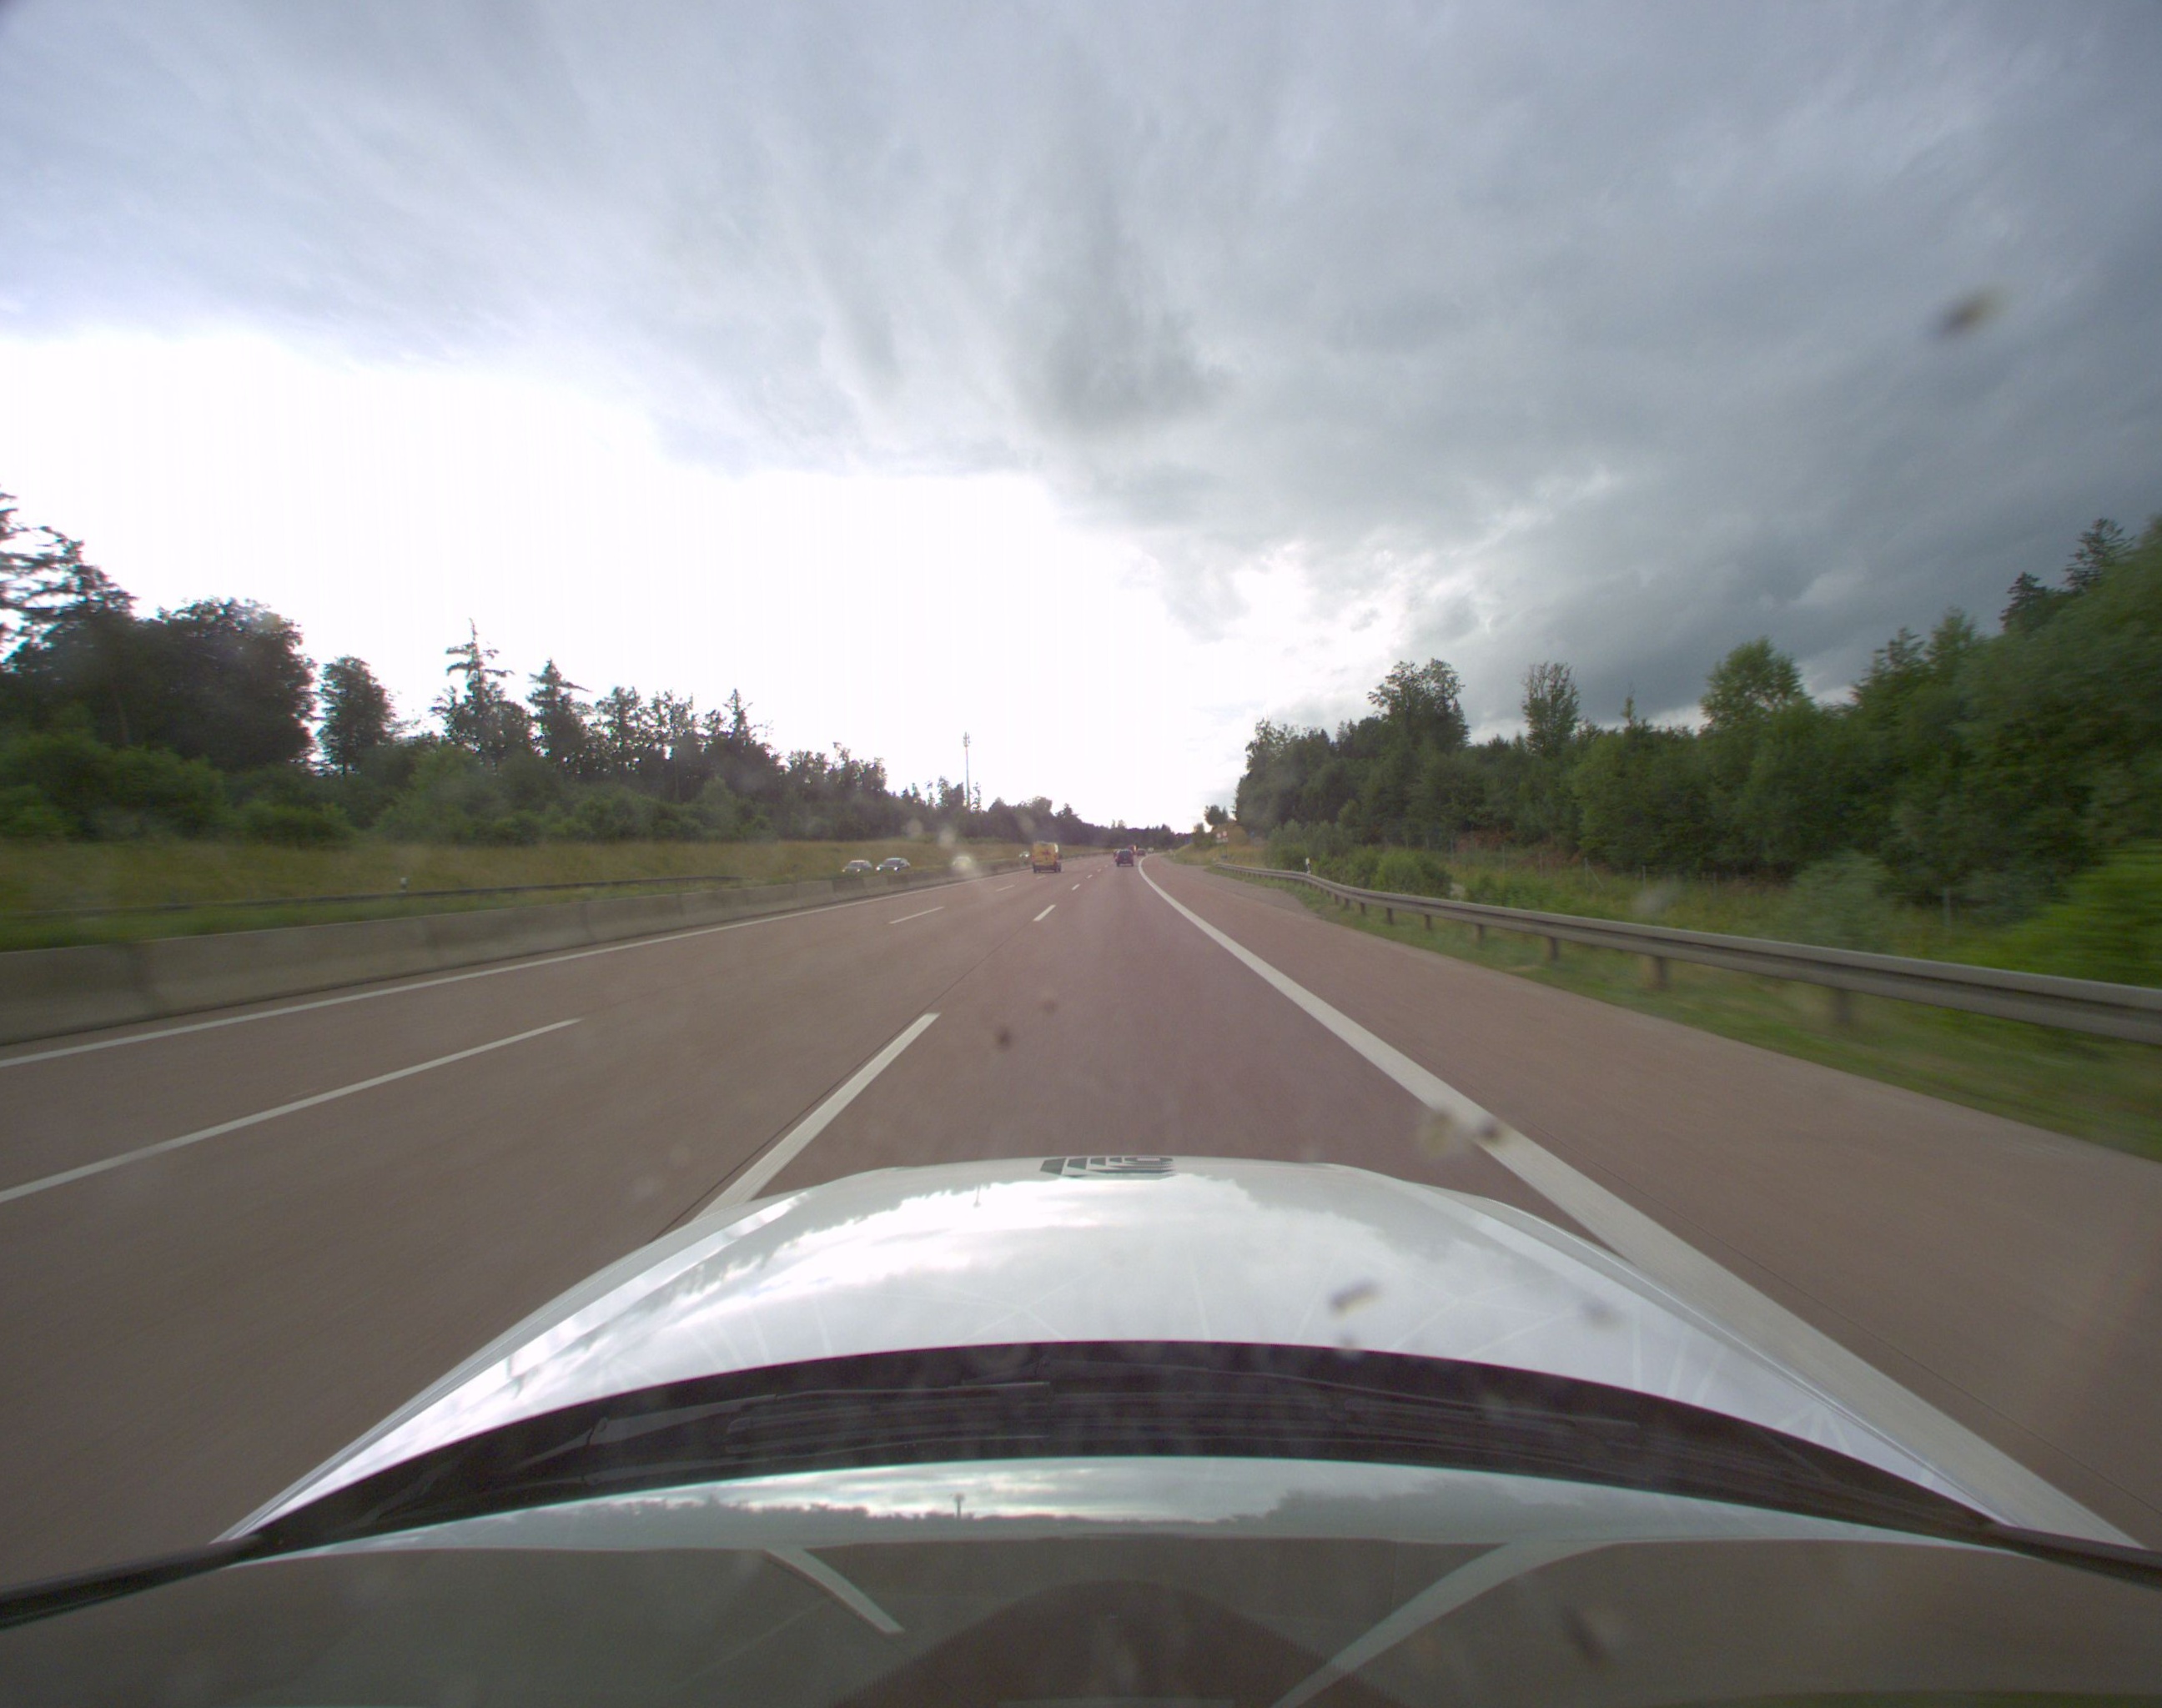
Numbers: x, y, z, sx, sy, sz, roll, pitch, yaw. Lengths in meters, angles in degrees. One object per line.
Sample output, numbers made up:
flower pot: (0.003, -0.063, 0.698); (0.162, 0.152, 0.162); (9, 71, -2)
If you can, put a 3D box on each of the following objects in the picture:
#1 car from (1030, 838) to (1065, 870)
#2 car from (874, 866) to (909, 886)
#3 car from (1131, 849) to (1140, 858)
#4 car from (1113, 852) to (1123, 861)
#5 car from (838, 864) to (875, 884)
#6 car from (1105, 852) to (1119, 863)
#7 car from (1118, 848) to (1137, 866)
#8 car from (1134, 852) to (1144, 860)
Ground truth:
car: (-2.901, 0.044, 71.863); (2.448, 2.706, 5.618); (-2, -1, 3)
car: (-15.466, 1.793, 66.627); (1.756, 1.638, 4.380); (0, -2, 1)
car: (14.907, -0.027, 224.023); (2.230, 2.430, 6.214); (-1, 0, 5)
car: (7.611, 0.564, 167.864); (1.970, 1.648, 4.620); (-2, -1, 1)
car: (-19.229, 1.746, 69.998); (1.755, 1.638, 4.383); (-1, -2, 3)
car: (4.635, 0.558, 122.723); (1.969, 1.648, 4.623); (-2, -1, 3)
car: (5.292, 0.344, 93.336); (2.036, 1.897, 5.580); (-2, -1, 2)
car: (12.911, 0.376, 181.519); (1.970, 1.648, 4.620); (-2, -1, 1)
